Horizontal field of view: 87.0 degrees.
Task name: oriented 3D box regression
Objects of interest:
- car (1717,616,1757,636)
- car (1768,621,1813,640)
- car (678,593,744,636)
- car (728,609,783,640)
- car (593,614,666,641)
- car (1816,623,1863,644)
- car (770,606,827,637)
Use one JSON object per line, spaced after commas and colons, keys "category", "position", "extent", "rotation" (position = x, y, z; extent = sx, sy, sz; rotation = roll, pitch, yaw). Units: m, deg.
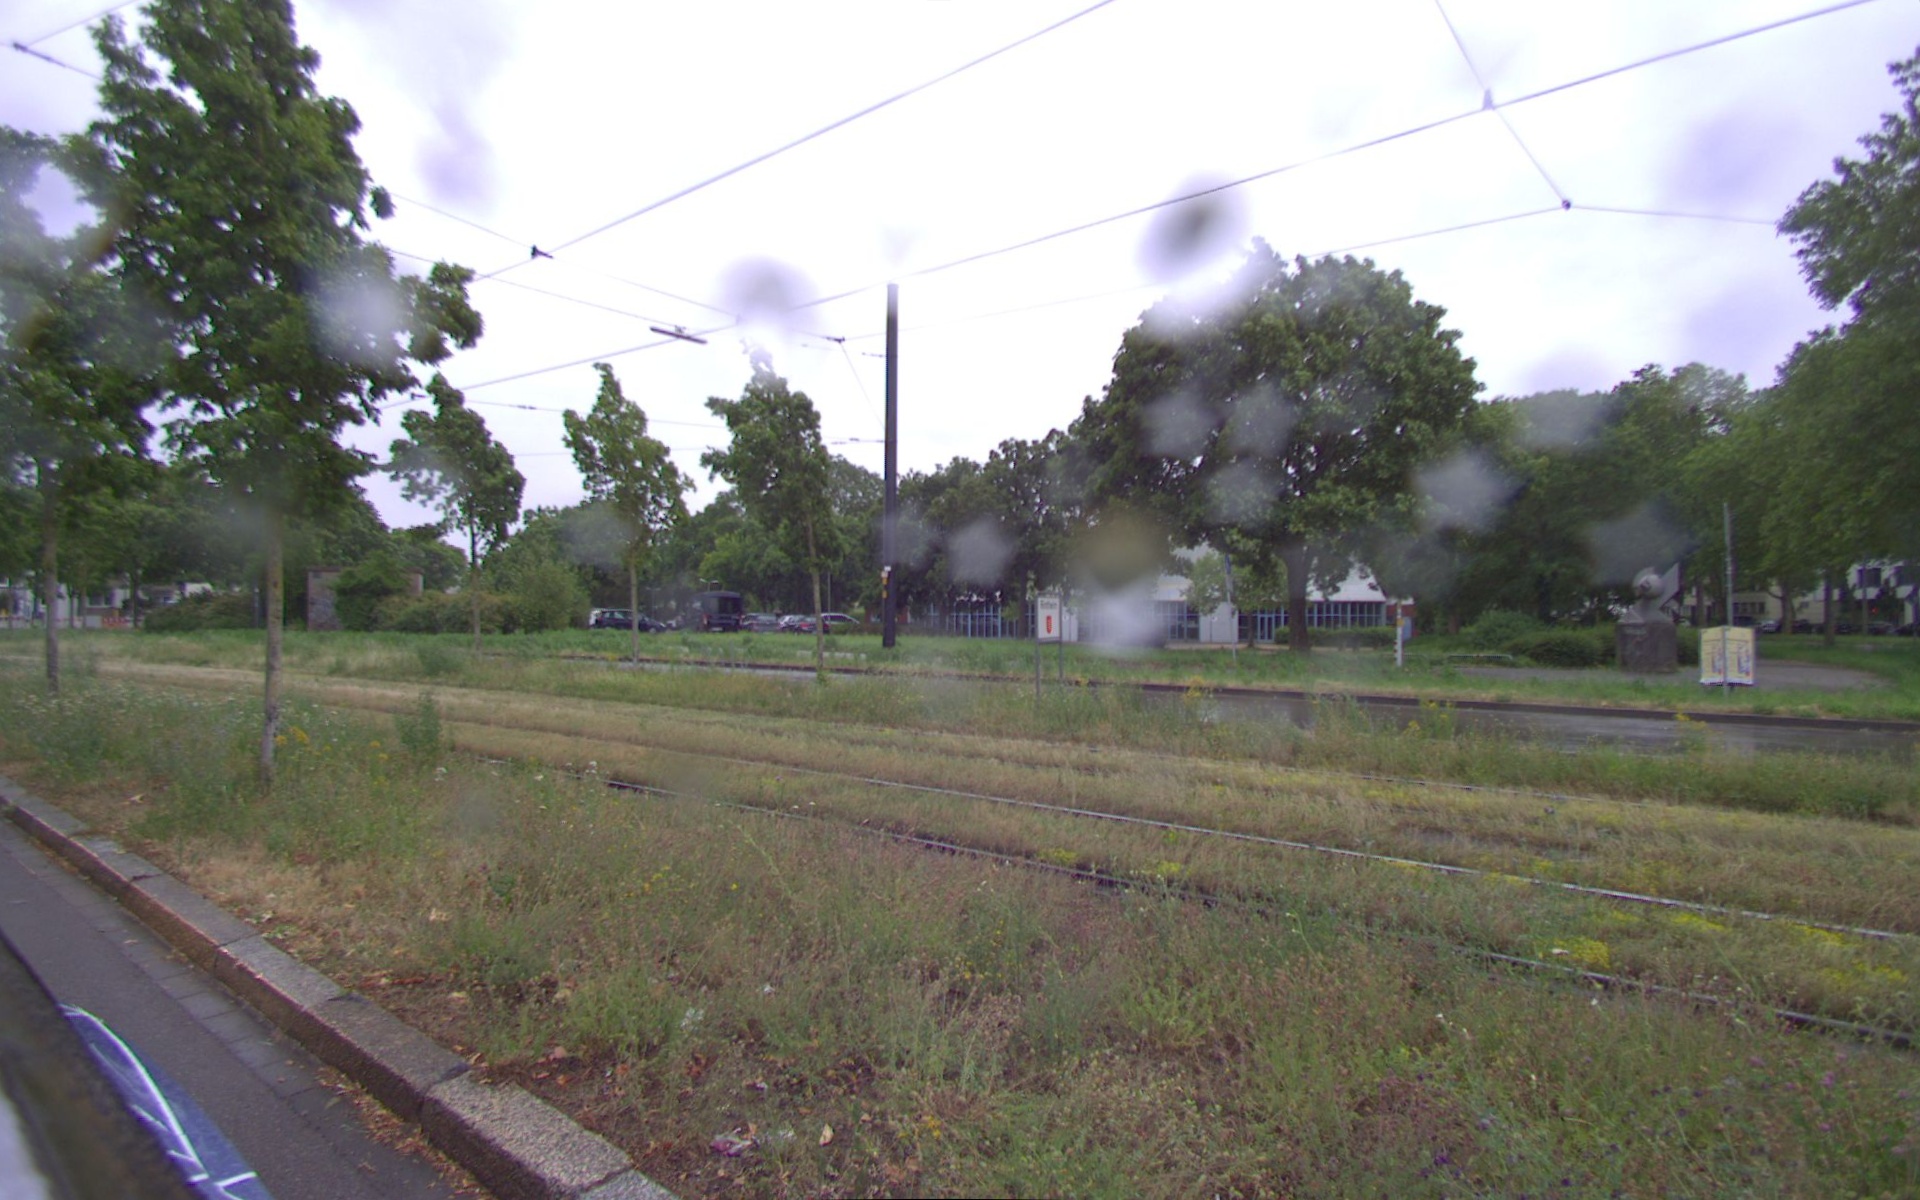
{"category": "car", "position": [86.358, 2.859, 112.528], "extent": [2.108, 2.104, 3.982], "rotation": [-1, 0, 14]}
{"category": "car", "position": [82.988, 3.050, 101.145], "extent": [1.982, 1.796, 3.979], "rotation": [-1, 0, 16]}
{"category": "car", "position": [-12.823, 0.713, 51.930], "extent": [2.273, 2.029, 5.134], "rotation": [-1, 0, -25]}
{"category": "car", "position": [-10.904, 1.271, 53.702], "extent": [1.726, 1.542, 4.865], "rotation": [-1, 0, -25]}
{"category": "car", "position": [-20.260, 1.655, 61.956], "extent": [4.110, 1.494, 1.789], "rotation": [-1, 0, -23]}
{"category": "car", "position": [81.667, 3.128, 94.048], "extent": [1.986, 1.796, 3.972], "rotation": [-1, 0, 21]}
{"category": "car", "position": [-8.752, 1.107, 54.420], "extent": [2.026, 1.584, 5.032], "rotation": [-1, 0, -21]}
